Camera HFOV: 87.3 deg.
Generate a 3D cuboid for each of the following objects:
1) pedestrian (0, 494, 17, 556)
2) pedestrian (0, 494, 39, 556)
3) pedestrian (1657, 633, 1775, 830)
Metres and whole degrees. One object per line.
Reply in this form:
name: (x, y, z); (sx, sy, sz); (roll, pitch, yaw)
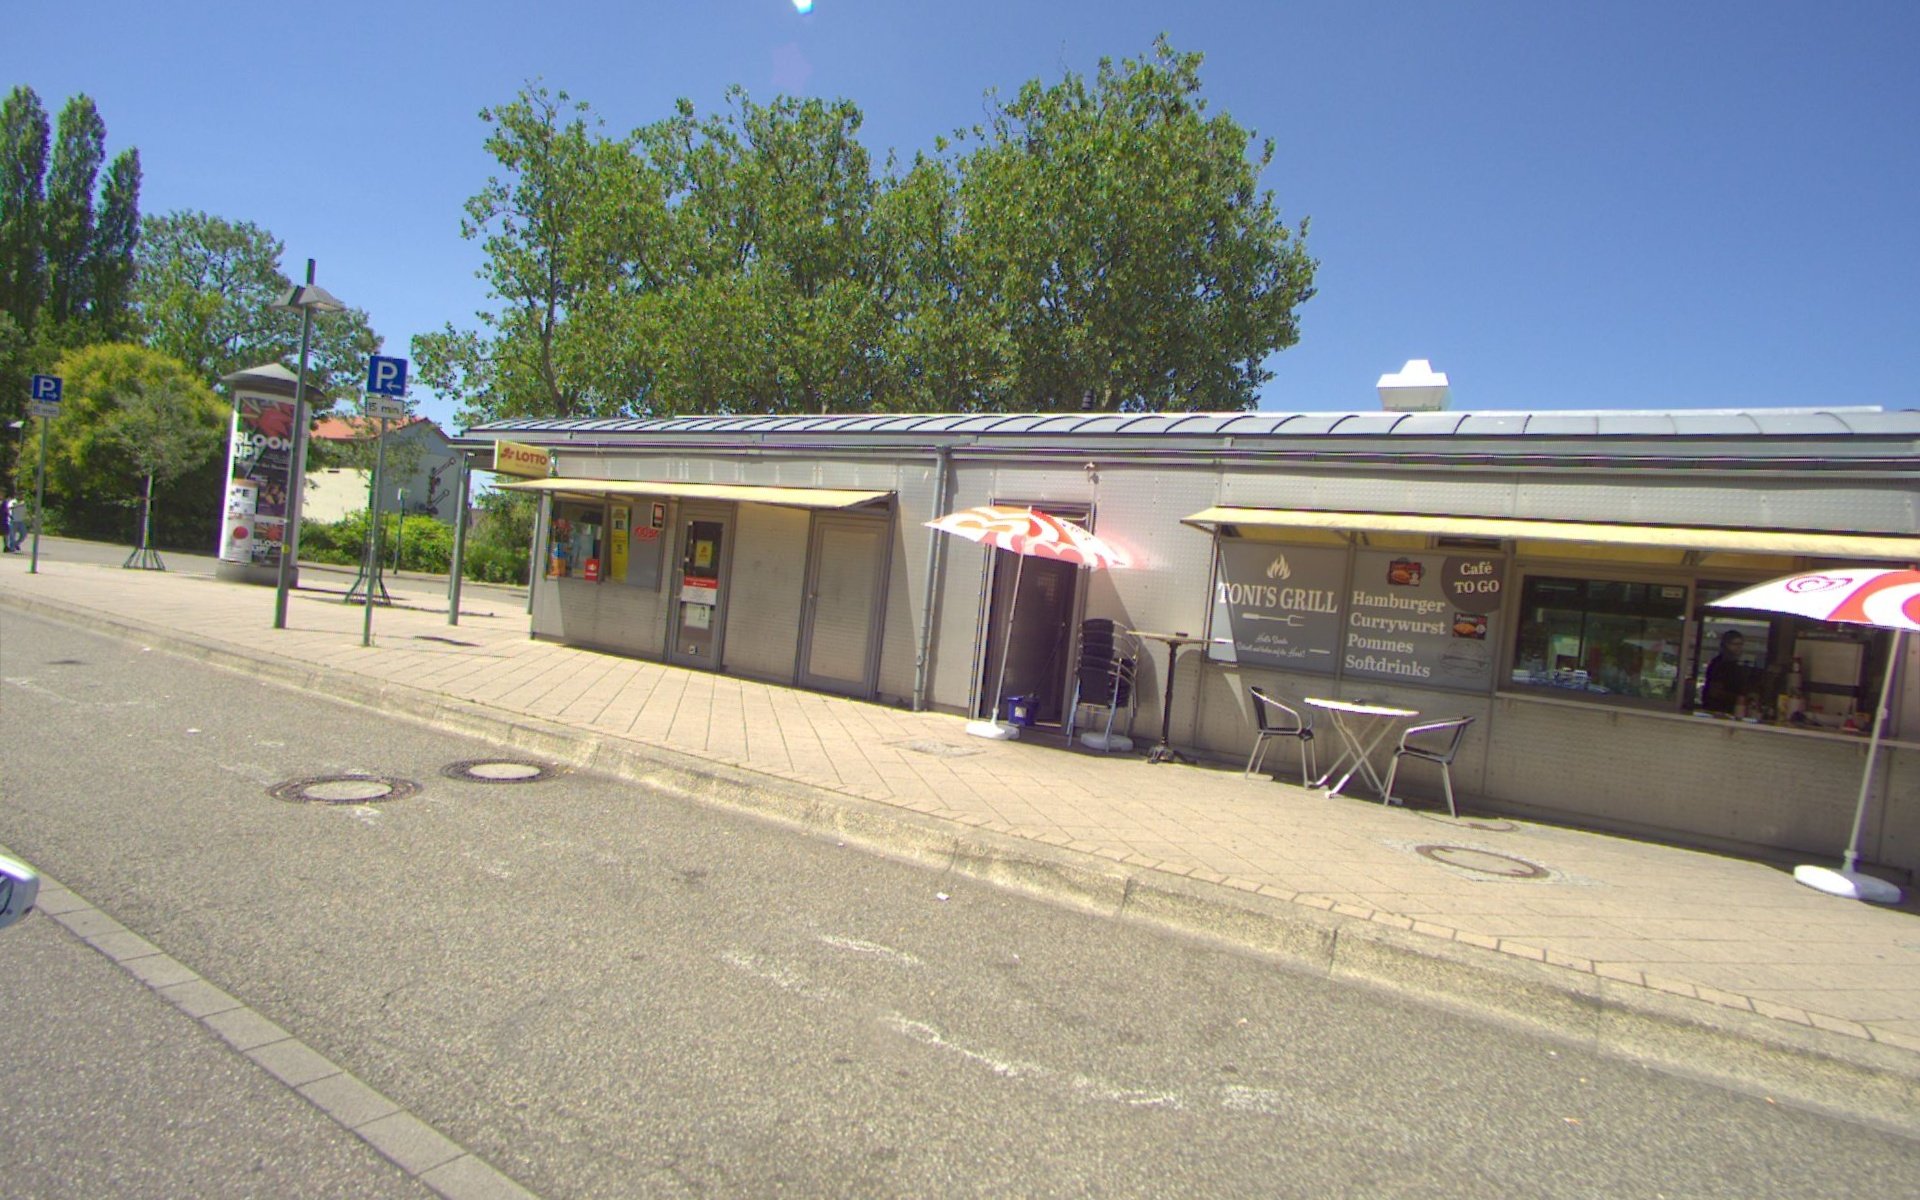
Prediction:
pedestrian: (-26.901, -2.112, 28.025); (0.630, 1.669, 0.745); (6, -1, -31)
pedestrian: (-27.453, -2.176, 29.266); (0.714, 1.669, 0.745); (6, -1, -31)
pedestrian: (7.315, 1.244, 9.775); (0.695, 1.759, 0.687); (6, 1, 31)
